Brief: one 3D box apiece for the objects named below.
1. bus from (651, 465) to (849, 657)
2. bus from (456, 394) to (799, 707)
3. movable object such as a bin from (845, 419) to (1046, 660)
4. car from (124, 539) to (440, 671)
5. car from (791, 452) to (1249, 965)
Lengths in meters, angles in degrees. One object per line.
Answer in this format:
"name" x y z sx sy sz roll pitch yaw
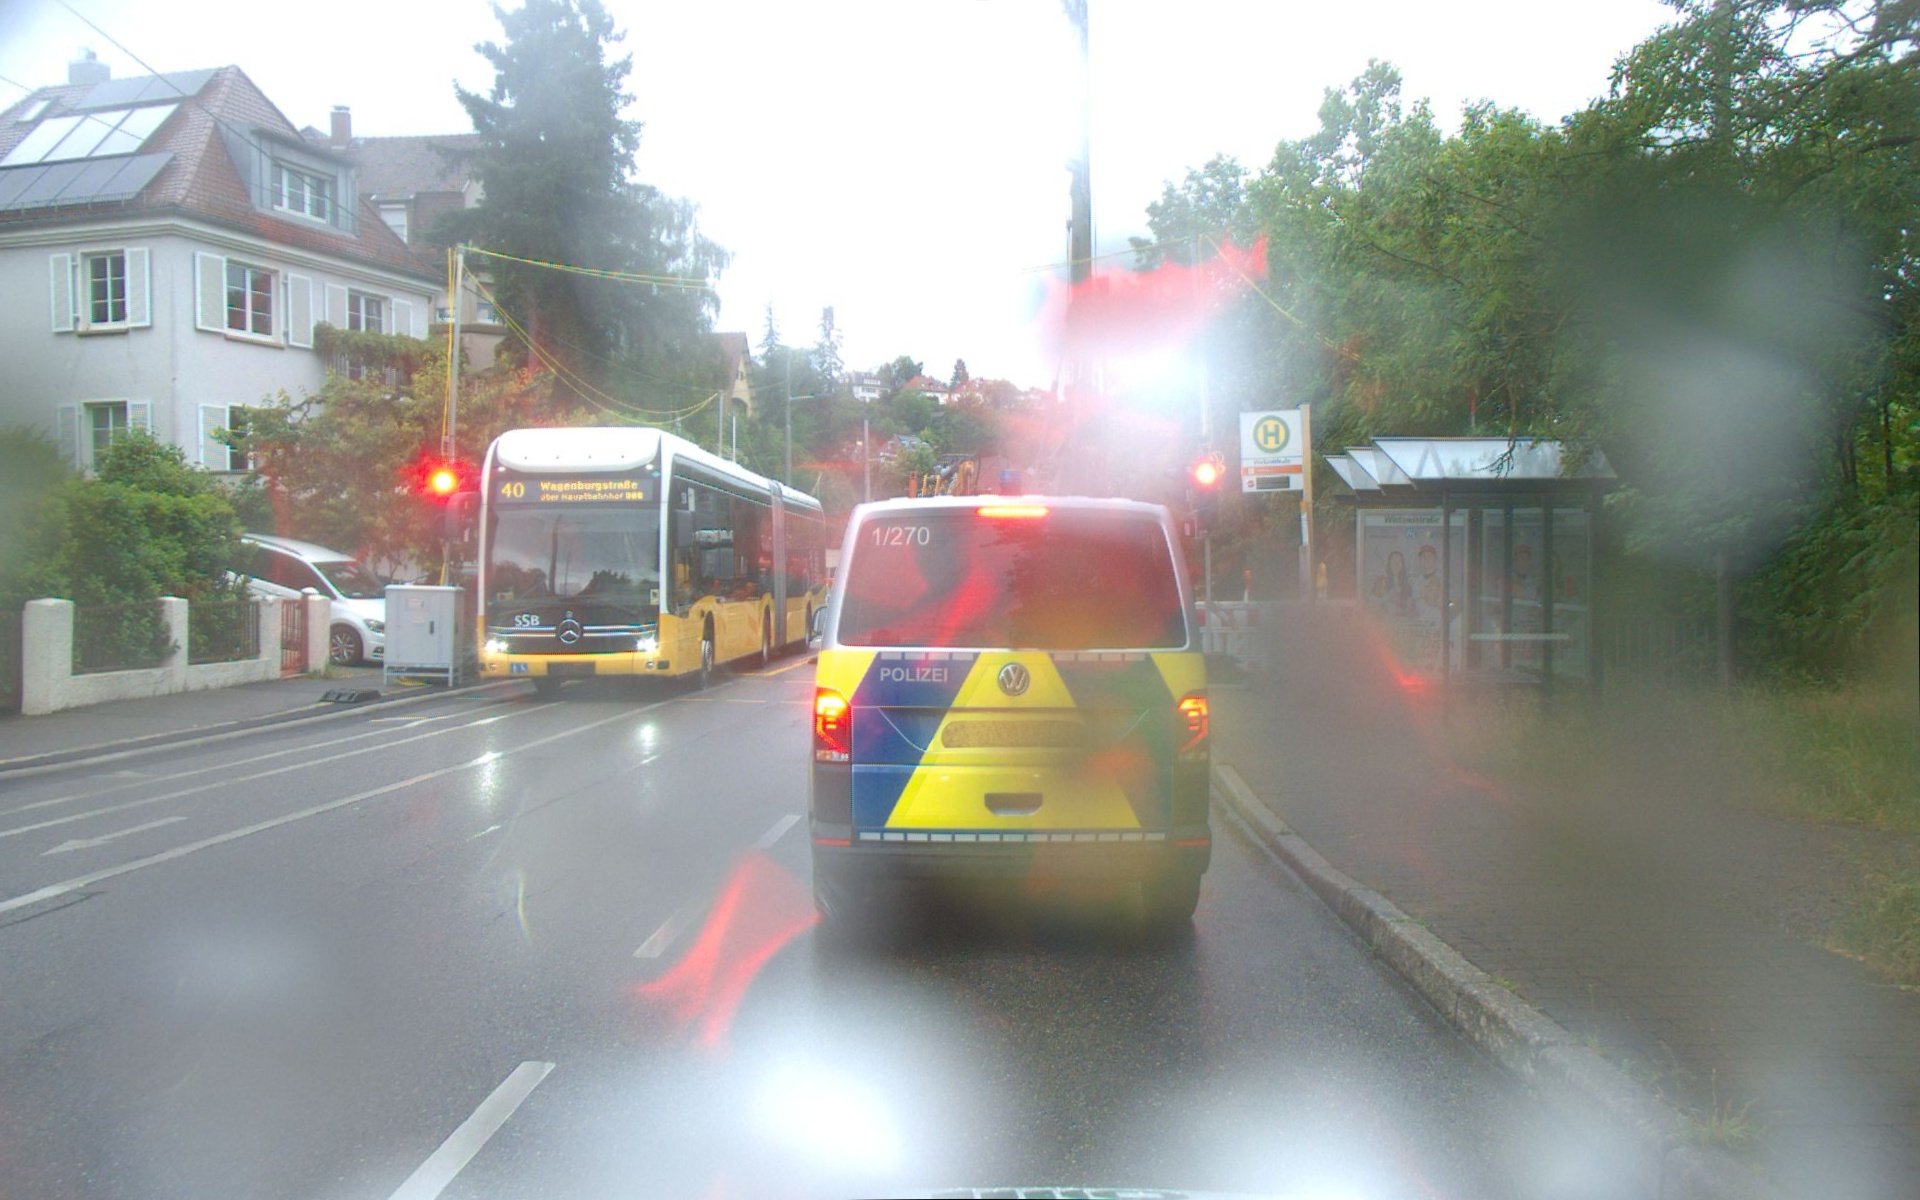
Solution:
"bus" -4.481 -0.799 38.094 2.782 3.688 12.007 1 0 1
"bus" -4.662 -0.647 26.251 2.782 3.783 12.007 1 0 1
"movable object such as a bin" -0.171 -1.094 31.632 2.770 4.250 4.384 1 0 14
"car" -11.213 0.057 27.483 4.532 2.042 1.902 1 0 11
"car" 0.223 0.436 8.814 1.855 2.086 3.999 1 0 -1
